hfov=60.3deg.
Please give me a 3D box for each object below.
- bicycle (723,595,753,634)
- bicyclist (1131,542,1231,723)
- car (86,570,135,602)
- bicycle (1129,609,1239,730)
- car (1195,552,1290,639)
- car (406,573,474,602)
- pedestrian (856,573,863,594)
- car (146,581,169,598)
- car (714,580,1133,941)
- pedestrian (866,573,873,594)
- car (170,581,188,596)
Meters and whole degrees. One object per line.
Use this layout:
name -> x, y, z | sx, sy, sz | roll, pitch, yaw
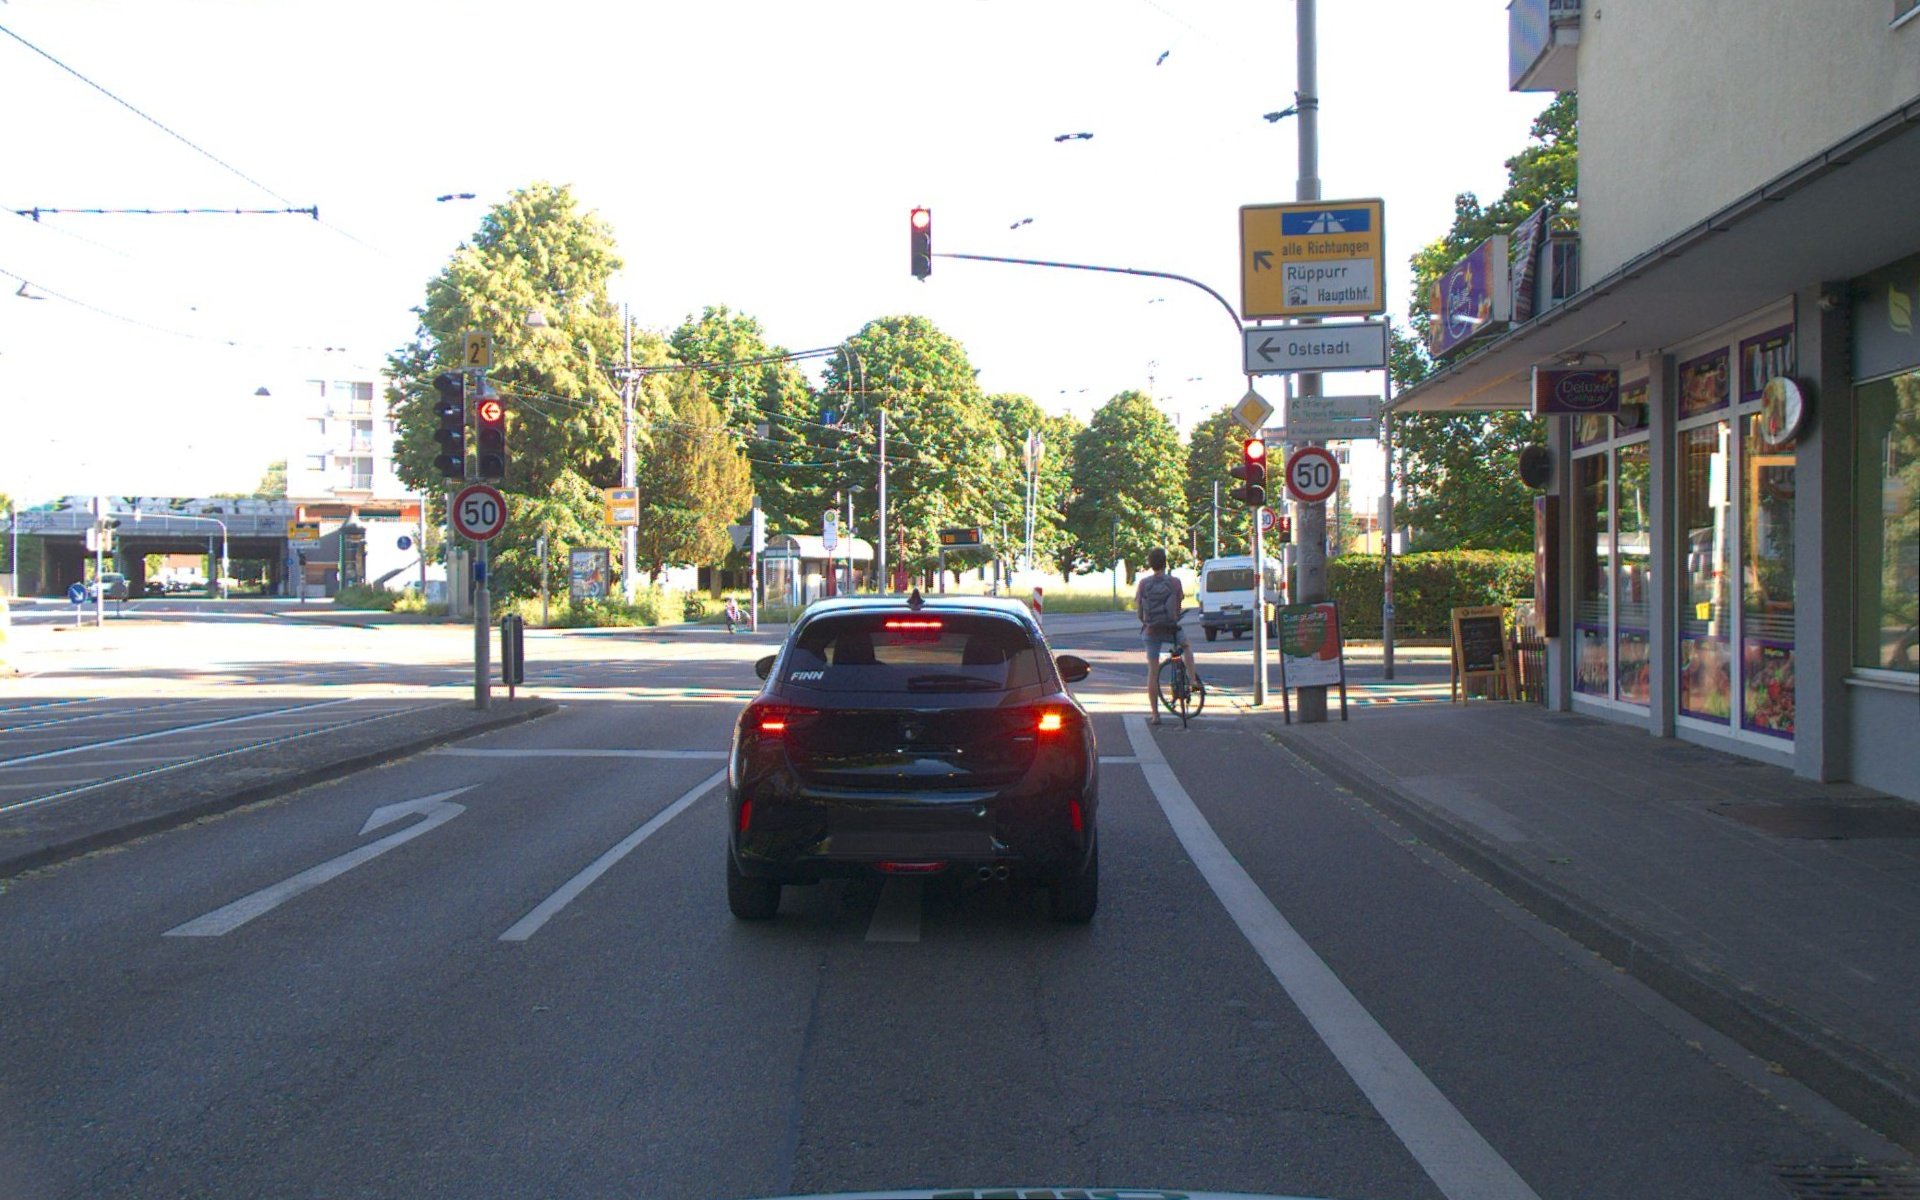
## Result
bicycle -> -6.218, 0.386, 46.379 | 0.593, 1.049, 1.982 | 0, 1, -1
bicyclist -> 2.361, 0.338, 17.742 | 0.922, 1.883, 0.864 | -1, 0, -1
car -> -50.076, -0.840, 97.446 | 2.192, 1.855, 4.100 | -1, 1, -33
bicycle -> 2.369, 0.708, 17.764 | 0.842, 1.173, 2.171 | -1, 1, -1
car -> 8.012, -0.147, 46.584 | 2.020, 2.288, 4.890 | 0, 1, 17
car -> -34.665, -0.843, 110.261 | 4.123, 1.836, 1.722 | -1, 1, -26
pedestrian -> -6.821, -1.117, 112.213 | 0.404, 1.437, 0.436 | 2, 0, -3
car -> -78.739, -1.023, 162.255 | 1.969, 1.630, 4.211 | -1, 1, -26
car -> -0.168, 0.641, 8.829 | 1.692, 1.454, 4.186 | 1, 0, -1
pedestrian -> -6.120, -1.097, 111.832 | 0.404, 1.437, 0.436 | 2, 0, -1
car -> -102.594, -1.487, 217.193 | 1.971, 1.981, 4.458 | -1, 1, -28
